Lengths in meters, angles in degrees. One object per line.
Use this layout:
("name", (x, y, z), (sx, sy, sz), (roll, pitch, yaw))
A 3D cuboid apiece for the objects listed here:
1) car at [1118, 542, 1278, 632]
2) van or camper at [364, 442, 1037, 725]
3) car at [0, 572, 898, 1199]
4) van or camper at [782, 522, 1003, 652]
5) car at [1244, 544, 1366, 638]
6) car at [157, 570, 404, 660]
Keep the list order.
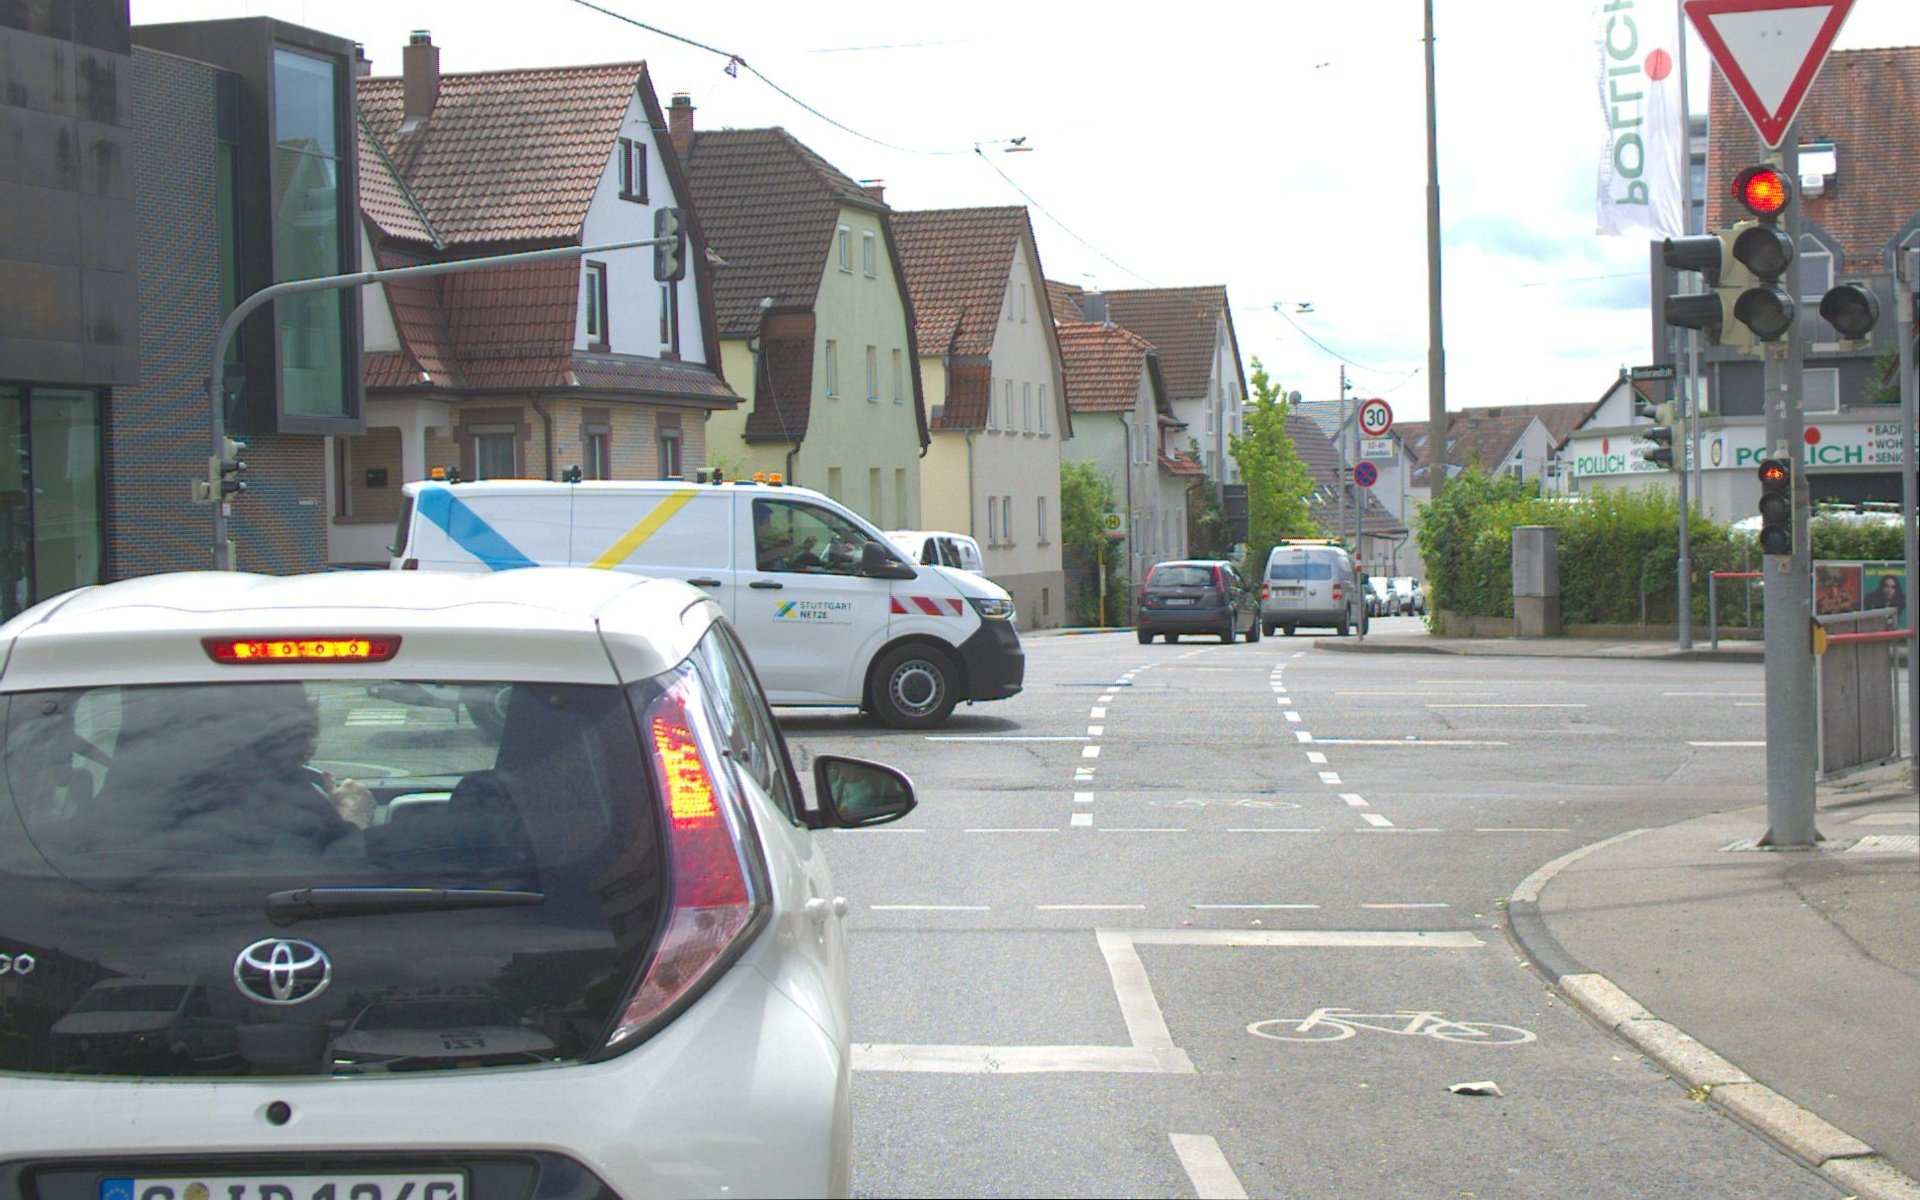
("car", (4.163, -0.249, 59.552), (1.995, 1.481, 3.997), (1, 1, 15))
("van or camper", (-2.108, -0.125, 27.252), (5.116, 2.070, 2.001), (1, 1, -9))
("car", (-1.008, 0.695, 6.296), (1.697, 1.451, 3.299), (1, 1, -2))
("van or camper", (-0.994, -0.230, 54.139), (2.117, 1.919, 5.282), (1, 1, 15))
("car", (7.088, -0.198, 70.360), (1.995, 1.842, 4.071), (1, 1, 13))
("car", (-11.199, 0.231, 56.753), (3.616, 1.414, 1.691), (1, 1, 11))
